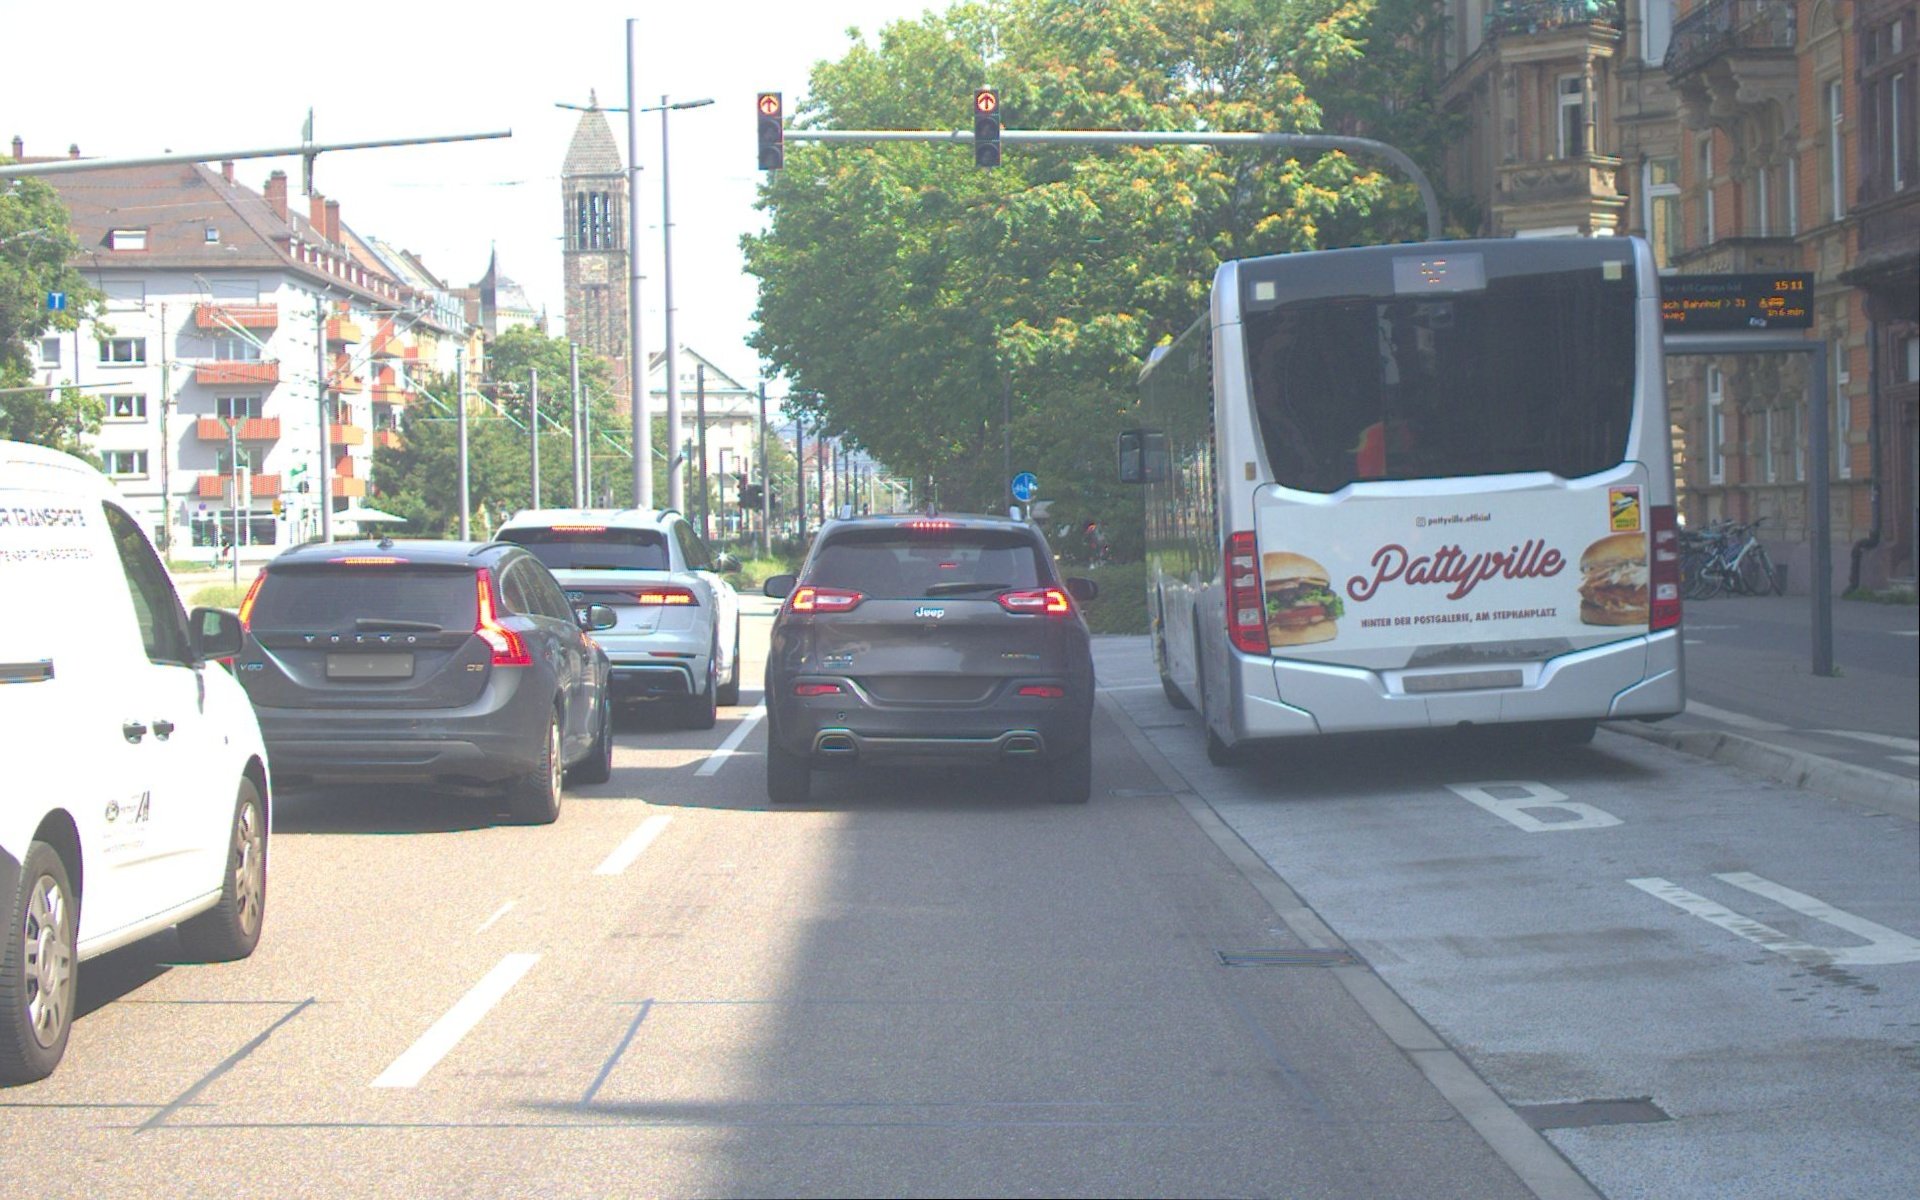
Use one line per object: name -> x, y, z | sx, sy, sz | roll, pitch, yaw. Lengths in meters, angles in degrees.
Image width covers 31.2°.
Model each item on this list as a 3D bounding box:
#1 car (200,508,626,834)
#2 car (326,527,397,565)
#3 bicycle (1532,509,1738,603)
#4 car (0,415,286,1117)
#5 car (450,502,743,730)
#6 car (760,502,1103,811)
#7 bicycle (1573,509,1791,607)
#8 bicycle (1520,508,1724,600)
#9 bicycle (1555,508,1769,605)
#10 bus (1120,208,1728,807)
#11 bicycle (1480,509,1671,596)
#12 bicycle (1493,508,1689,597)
car -> -2.919, 0.303, 19.195 | 1.747, 1.609, 4.309 | 0, 1, -1
car -> -24.452, -2.230, 140.608 | 1.746, 1.430, 4.573 | -2, 2, 5
bicycle -> 10.453, -0.688, 53.320 | 2.993, 1.366, 0.871 | -1, 1, -1
car -> -3.369, 0.391, 10.653 | 1.747, 1.814, 4.240 | 0, 1, 0
car -> -2.762, 0.061, 27.003 | 1.902, 1.646, 4.309 | 0, 2, -1
car -> -0.144, 0.252, 20.620 | 1.832, 1.646, 4.308 | 0, 1, 0
bicycle -> 10.607, -0.625, 50.555 | 2.993, 1.366, 0.871 | -1, 1, -1
bicycle -> 10.437, -0.731, 54.264 | 3.003, 1.368, 0.947 | -1, 1, -1
bicycle -> 10.499, -0.660, 51.460 | 2.993, 1.366, 0.871 | -1, 1, -1
bus -> 2.803, -0.624, 24.665 | 2.743, 3.096, 11.956 | -3, 1, 1
bicycle -> 10.317, -0.801, 57.685 | 3.003, 1.368, 0.947 | -1, 1, -1
bicycle -> 10.329, -0.784, 56.367 | 3.003, 1.368, 0.947 | -1, 1, -1
